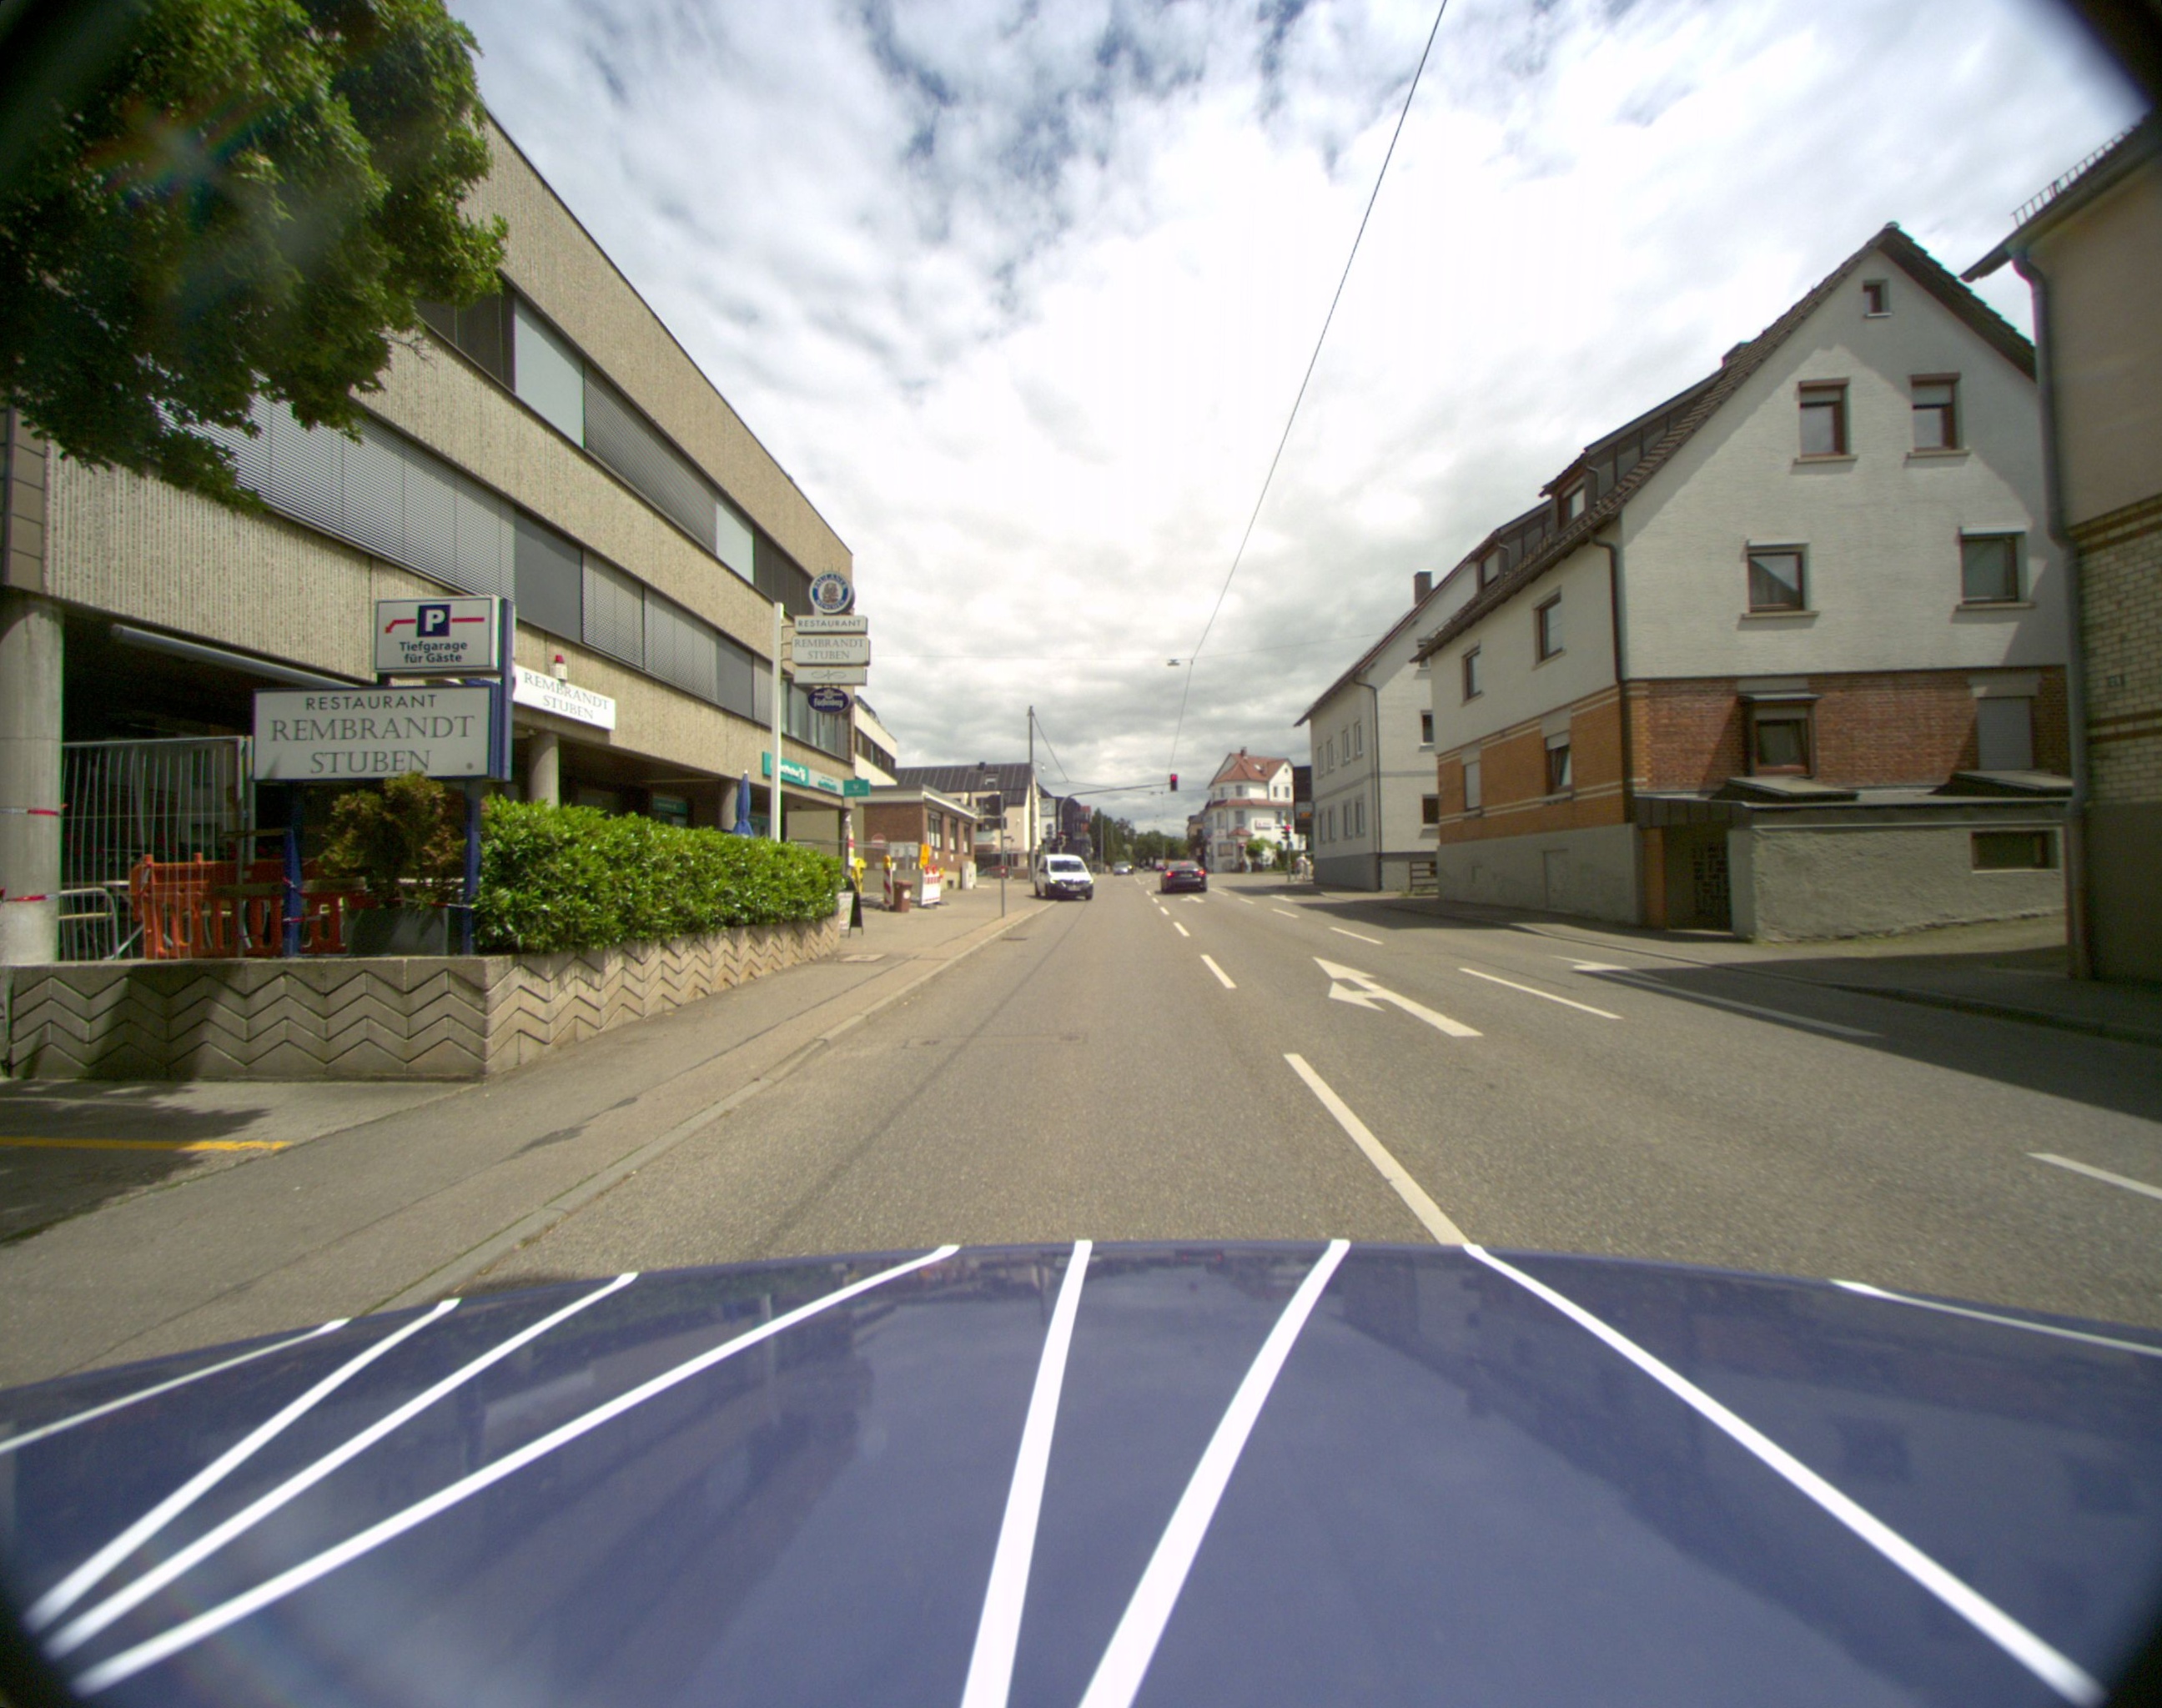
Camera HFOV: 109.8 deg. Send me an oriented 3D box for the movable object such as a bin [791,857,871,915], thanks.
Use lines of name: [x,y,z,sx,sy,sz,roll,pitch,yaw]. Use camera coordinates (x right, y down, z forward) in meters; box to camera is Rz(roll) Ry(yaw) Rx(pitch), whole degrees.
movable object such as a bin: [-7.816,0.976,23.836,1.930,1.674,1.381,-3,1,3]

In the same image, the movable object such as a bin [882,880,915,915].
movable object such as a bin: [-5.228,1.245,21.797,0.789,0.909,0.470,3,1,2]

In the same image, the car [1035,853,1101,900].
car: [-0.606,0.891,30.924,1.895,1.717,4.289,2,-1,-11]

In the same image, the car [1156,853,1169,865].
car: [14.885,0.923,139.387,1.998,2.002,4.000,-2,0,2]

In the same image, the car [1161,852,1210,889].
car: [4.628,0.745,34.065,1.795,1.477,4.002,-3,-1,3]

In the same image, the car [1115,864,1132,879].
car: [4.708,1.903,84.172,1.795,1.477,4.002,-3,-1,3]

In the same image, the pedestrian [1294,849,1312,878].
pedestrian: [12.684,0.551,43.458,0.586,1.599,0.680,-3,1,-25]
